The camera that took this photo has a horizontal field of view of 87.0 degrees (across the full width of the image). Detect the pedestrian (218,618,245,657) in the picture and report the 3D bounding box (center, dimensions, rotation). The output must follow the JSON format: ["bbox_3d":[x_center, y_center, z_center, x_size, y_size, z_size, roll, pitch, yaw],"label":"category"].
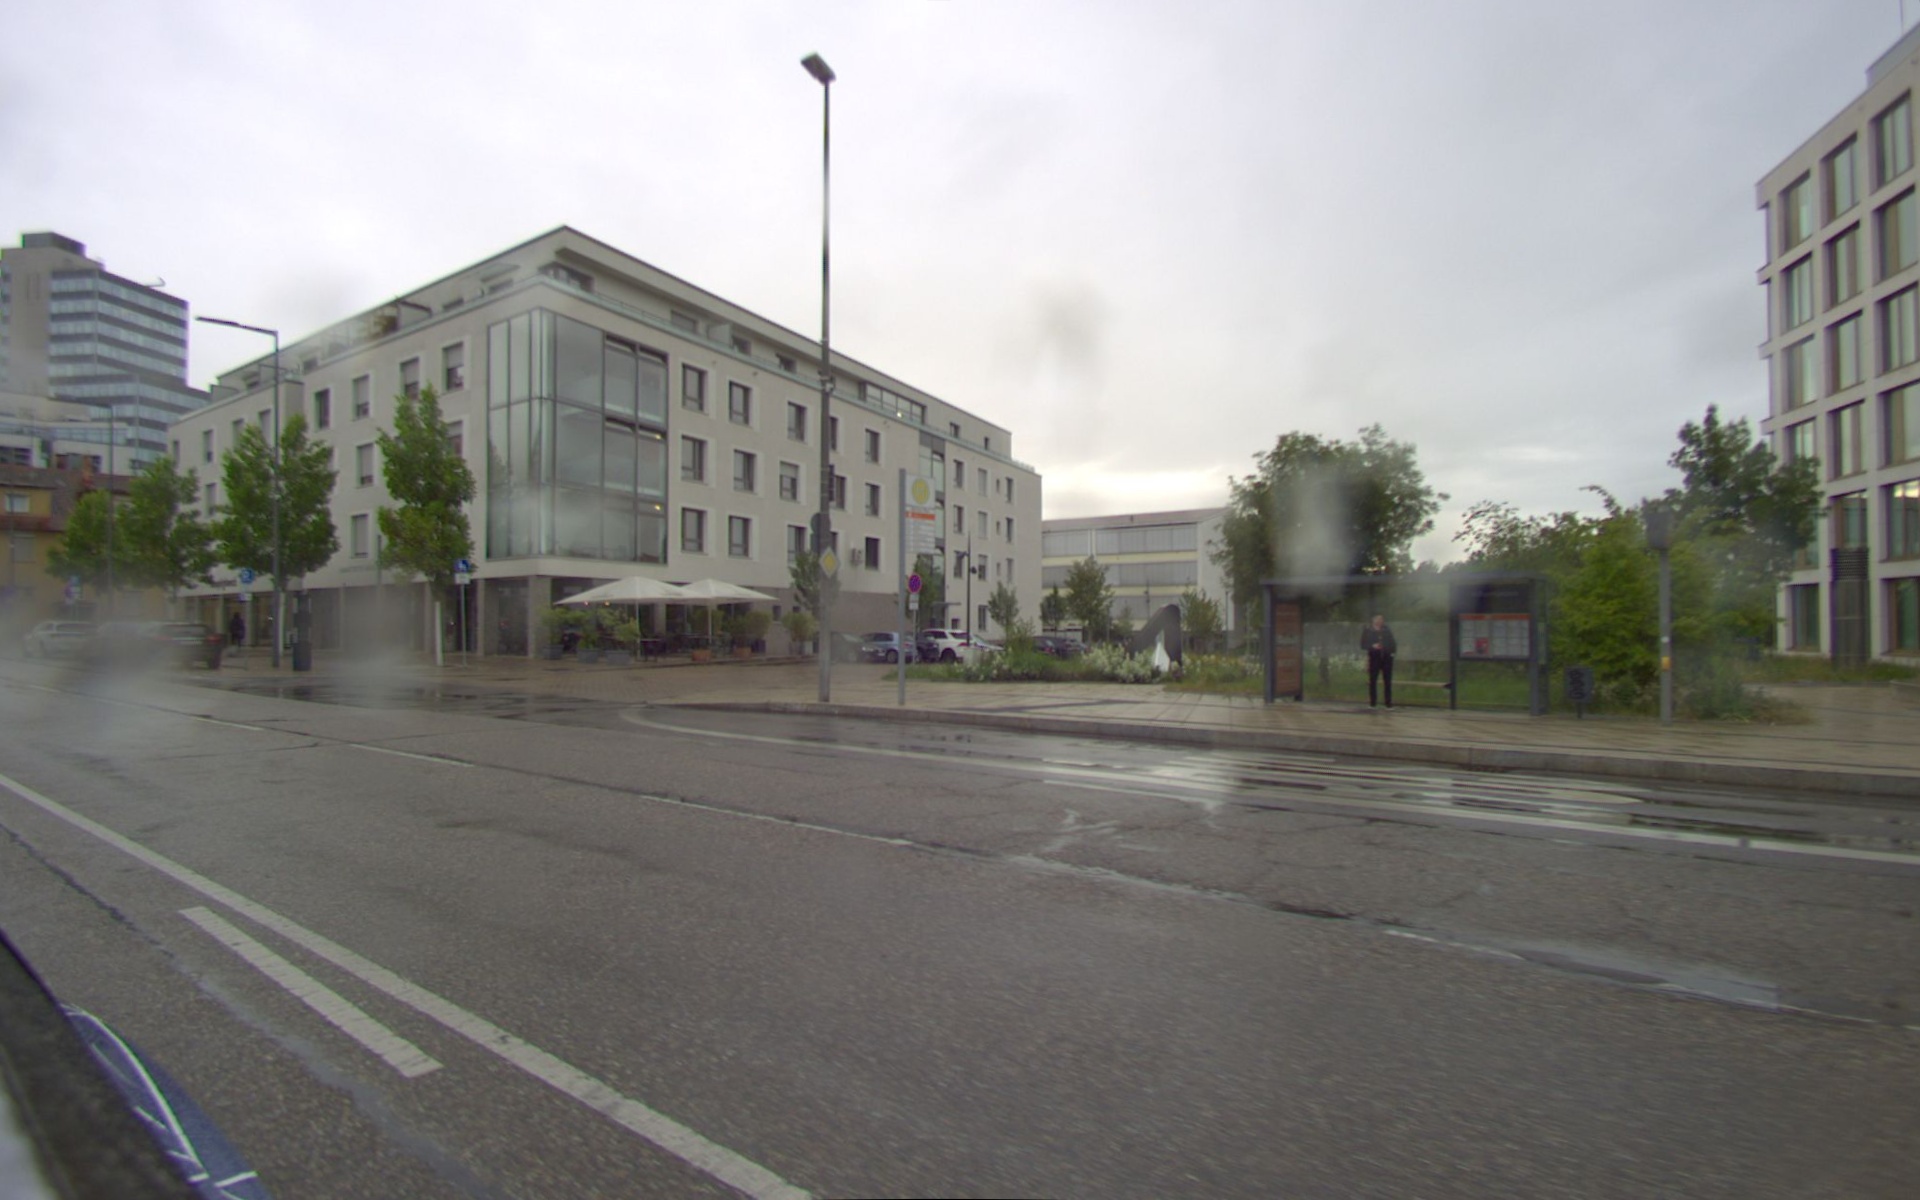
[{"bbox_3d":[-33.299,1.702,46.273,0.797,1.751,1.006,2,-1,-26],"label":"pedestrian"}]

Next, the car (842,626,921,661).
[{"bbox_3d":[-3.685,2.038,47.728,3.409,1.470,1.492,1,-1,20],"label":"car"}]

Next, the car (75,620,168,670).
[{"bbox_3d":[-29.034,1.517,35.004,4.574,1.521,1.674,1,-1,40],"label":"car"}]

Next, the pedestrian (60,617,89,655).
[{"bbox_3d":[-43.208,1.752,49.369,0.879,1.801,0.794,1,-1,33],"label":"pedestrian"}]

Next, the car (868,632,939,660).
[{"bbox_3d":[-2.793,2.250,50.073,3.238,1.230,1.387,1,-1,22],"label":"car"}]

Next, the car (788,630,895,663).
[{"bbox_3d":[-5.295,2.051,45.144,4.440,1.305,1.781,1,-1,22],"label":"car"}]

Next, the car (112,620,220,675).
[{"bbox_3d":[-24.697,1.436,31.422,4.464,1.594,1.572,-1,-2,38],"label":"car"}]

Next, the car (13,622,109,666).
[{"bbox_3d":[-34.006,1.627,38.259,4.469,1.473,1.779,1,-1,36],"label":"car"}]

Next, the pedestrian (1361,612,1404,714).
[{"bbox_3d":[7.624,1.118,18.261,0.670,1.758,0.779,1,-1,24],"label":"pedestrian"}]

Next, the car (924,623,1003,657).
[{"bbox_3d":[0.227,2.229,56.620,3.970,1.702,1.987,1,-1,20],"label":"car"}]

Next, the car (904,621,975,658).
[{"bbox_3d":[-1.065,2.066,53.505,3.435,1.790,1.480,1,-1,22],"label":"car"}]
